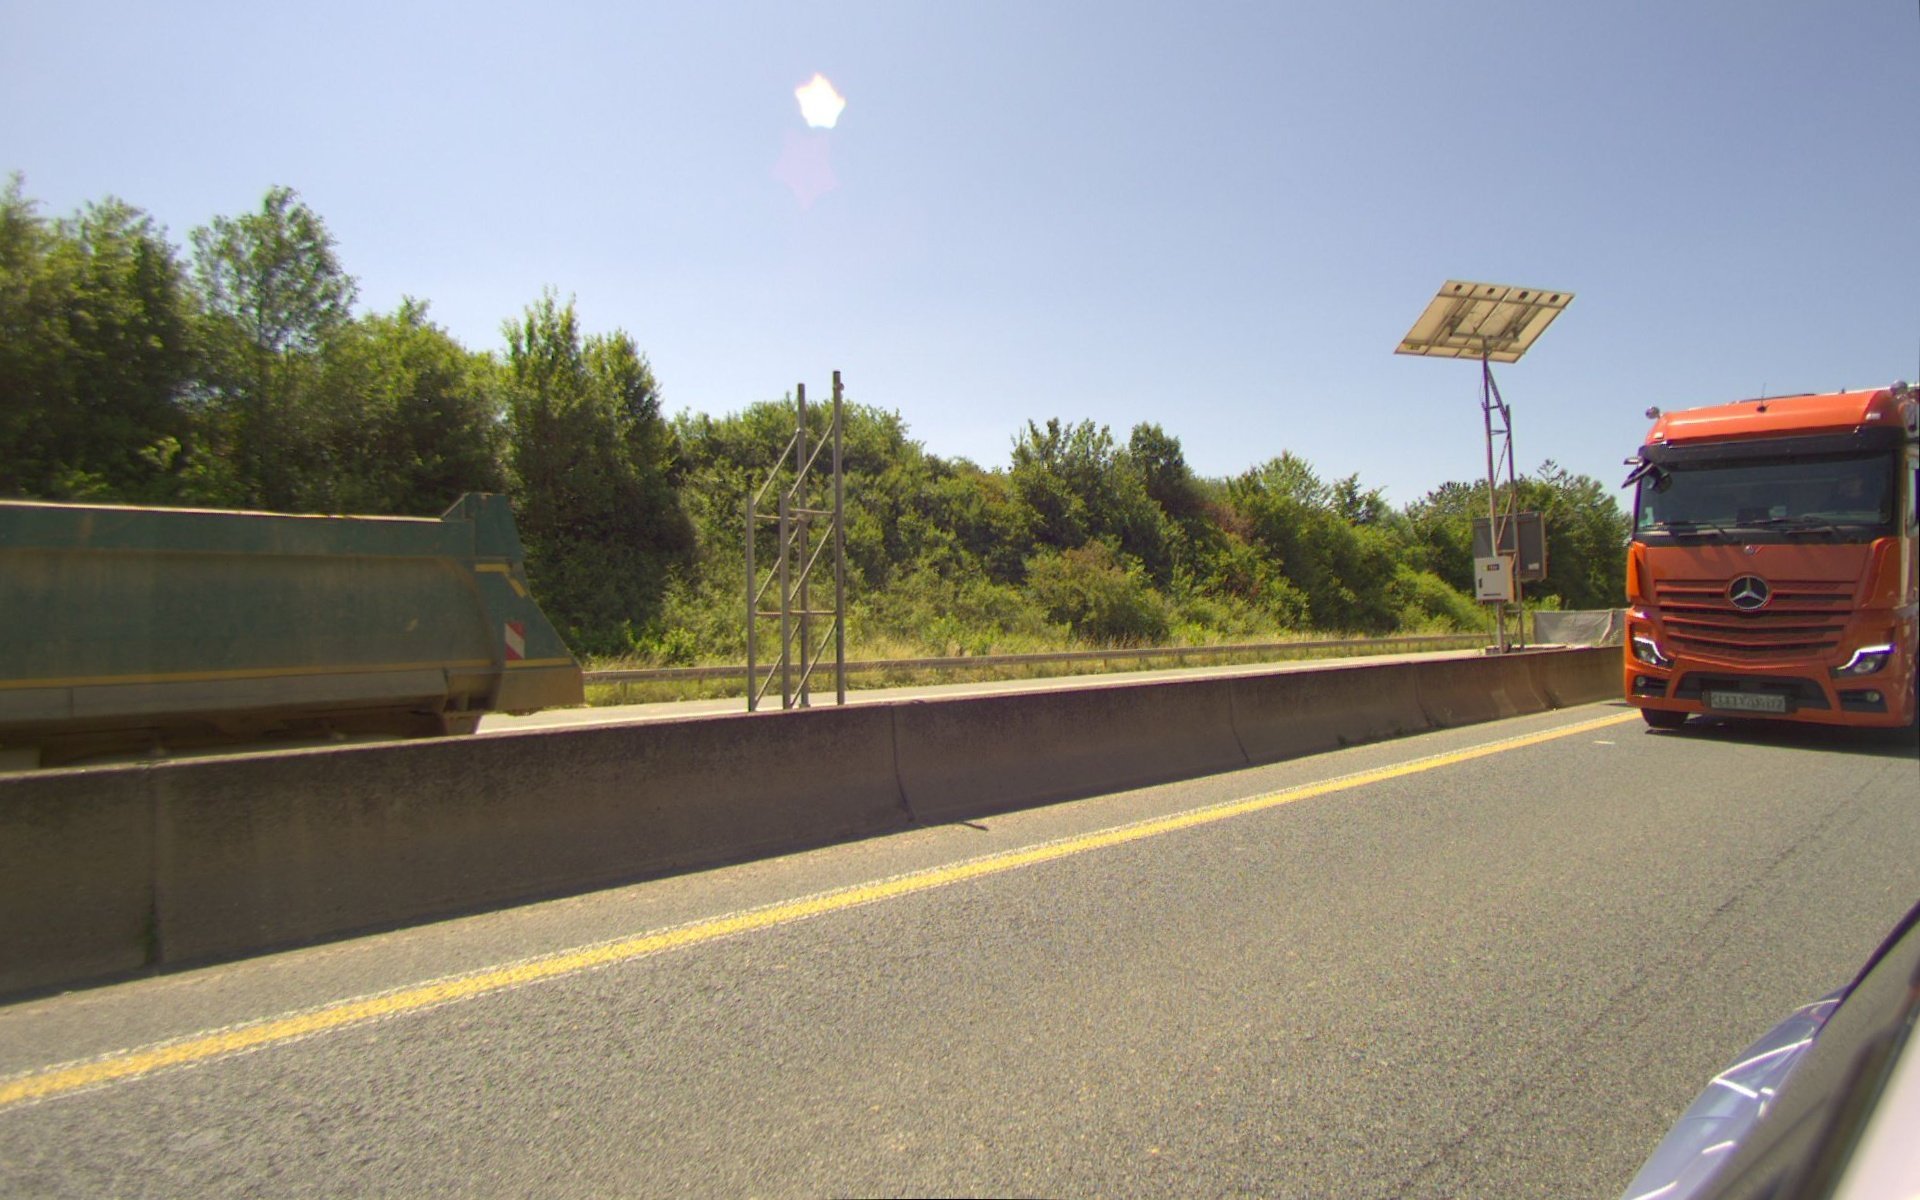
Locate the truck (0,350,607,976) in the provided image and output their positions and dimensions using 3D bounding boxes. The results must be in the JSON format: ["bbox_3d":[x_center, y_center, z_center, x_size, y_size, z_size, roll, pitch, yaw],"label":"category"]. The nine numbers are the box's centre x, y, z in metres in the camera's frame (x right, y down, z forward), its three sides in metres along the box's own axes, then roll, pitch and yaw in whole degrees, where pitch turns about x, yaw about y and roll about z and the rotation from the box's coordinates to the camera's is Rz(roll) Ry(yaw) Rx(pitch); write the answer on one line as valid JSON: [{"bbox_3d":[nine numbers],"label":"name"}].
[{"bbox_3d":[-6.990,0.359,6.071,8.939,3.556,2.537,0,-1,-42],"label":"truck"}]

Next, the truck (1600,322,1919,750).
[{"bbox_3d":[10.796,-0.629,12.773,6.606,4.061,2.687,0,0,-40],"label":"truck"}]

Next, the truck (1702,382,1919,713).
[{"bbox_3d":[16.143,-0.693,17.363,12.988,4.061,2.686,-1,0,-41],"label":"truck"}]
